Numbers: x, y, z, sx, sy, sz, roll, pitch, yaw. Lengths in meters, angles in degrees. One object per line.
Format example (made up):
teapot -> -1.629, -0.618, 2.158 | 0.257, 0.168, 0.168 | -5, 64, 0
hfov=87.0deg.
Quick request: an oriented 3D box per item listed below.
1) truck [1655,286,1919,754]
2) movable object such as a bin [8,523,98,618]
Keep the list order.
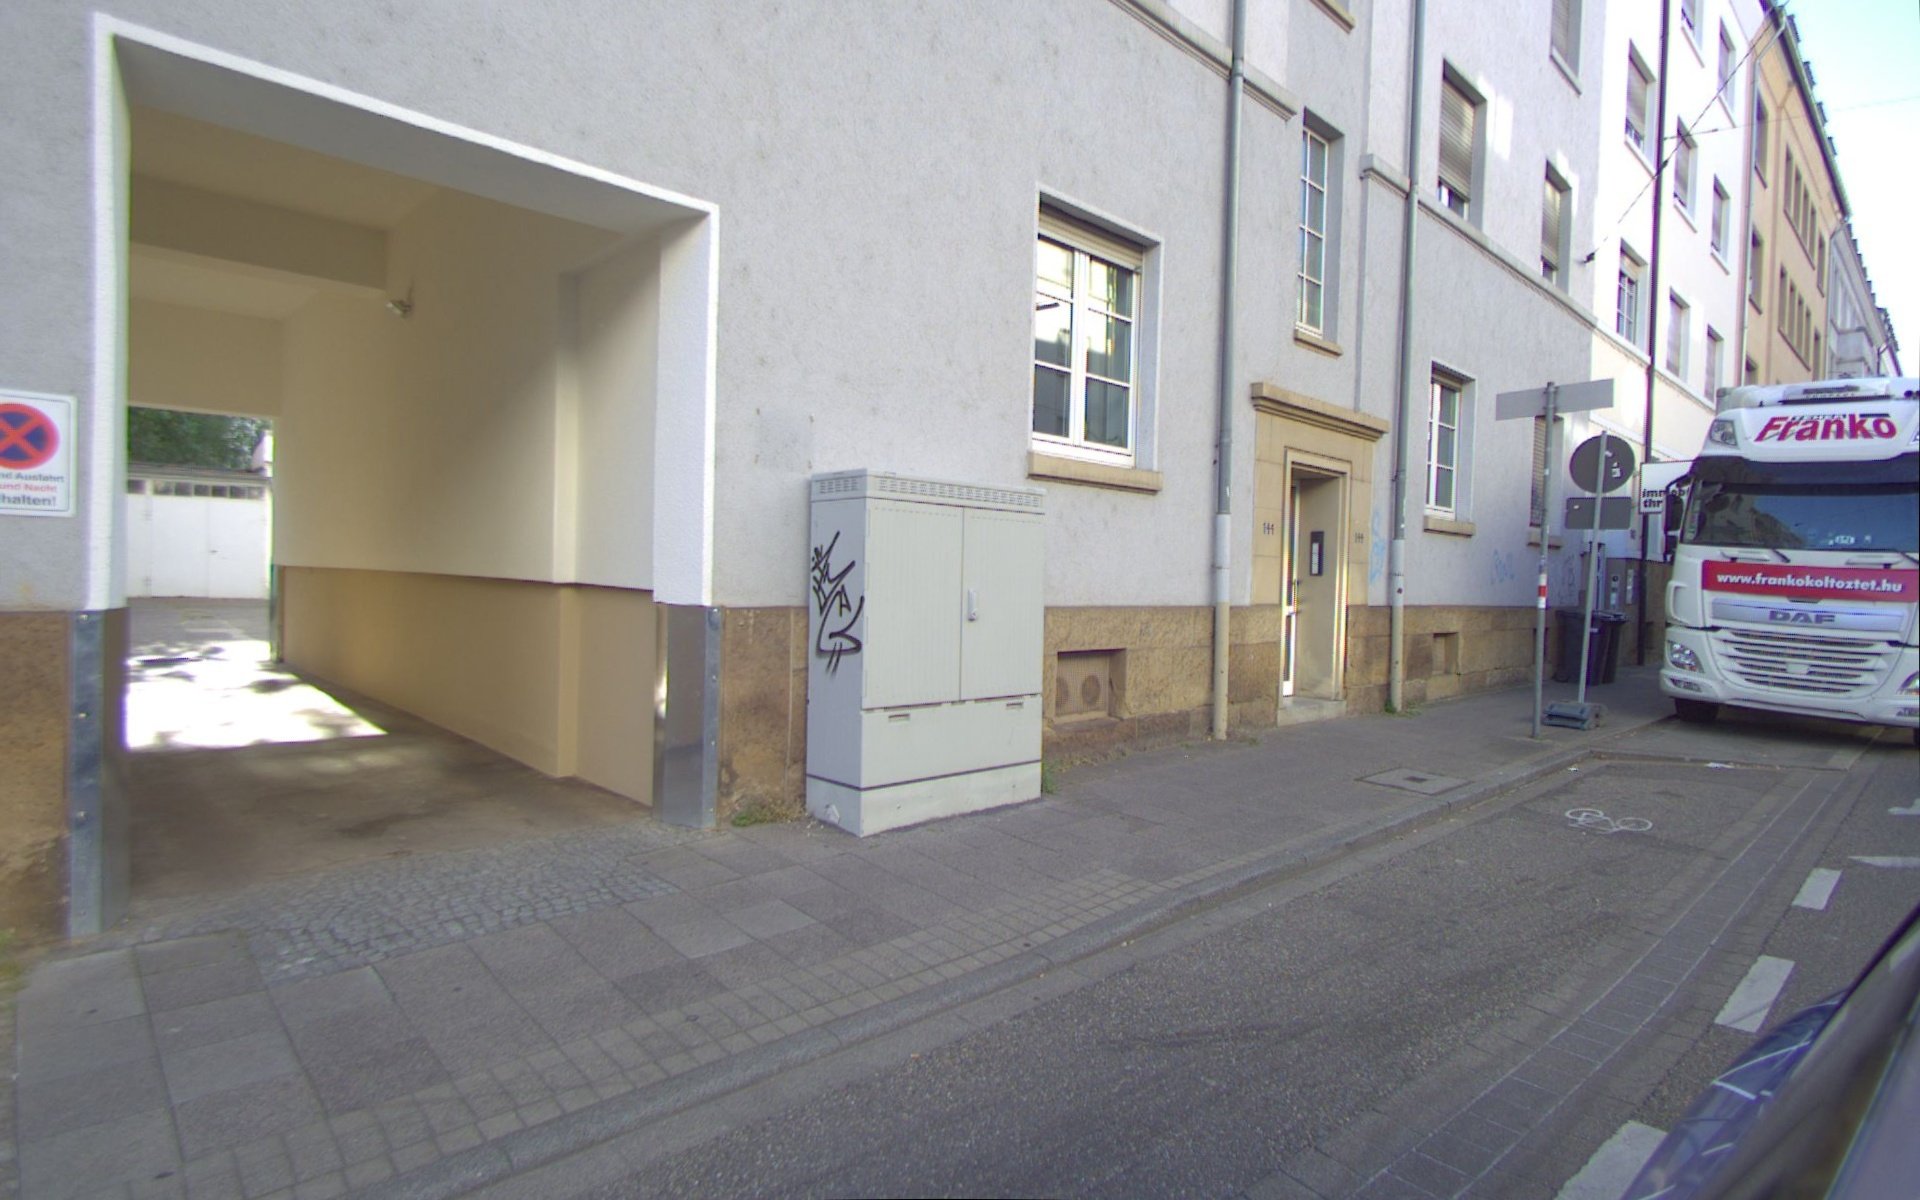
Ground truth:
truck -> 12.601, -0.856, 13.726 | 11.579, 4.290, 2.697 | -1, 3, -43
movable object such as a bin -> -15.091, -0.473, 16.871 | 1.091, 1.512, 1.328 | 0, 0, -41
